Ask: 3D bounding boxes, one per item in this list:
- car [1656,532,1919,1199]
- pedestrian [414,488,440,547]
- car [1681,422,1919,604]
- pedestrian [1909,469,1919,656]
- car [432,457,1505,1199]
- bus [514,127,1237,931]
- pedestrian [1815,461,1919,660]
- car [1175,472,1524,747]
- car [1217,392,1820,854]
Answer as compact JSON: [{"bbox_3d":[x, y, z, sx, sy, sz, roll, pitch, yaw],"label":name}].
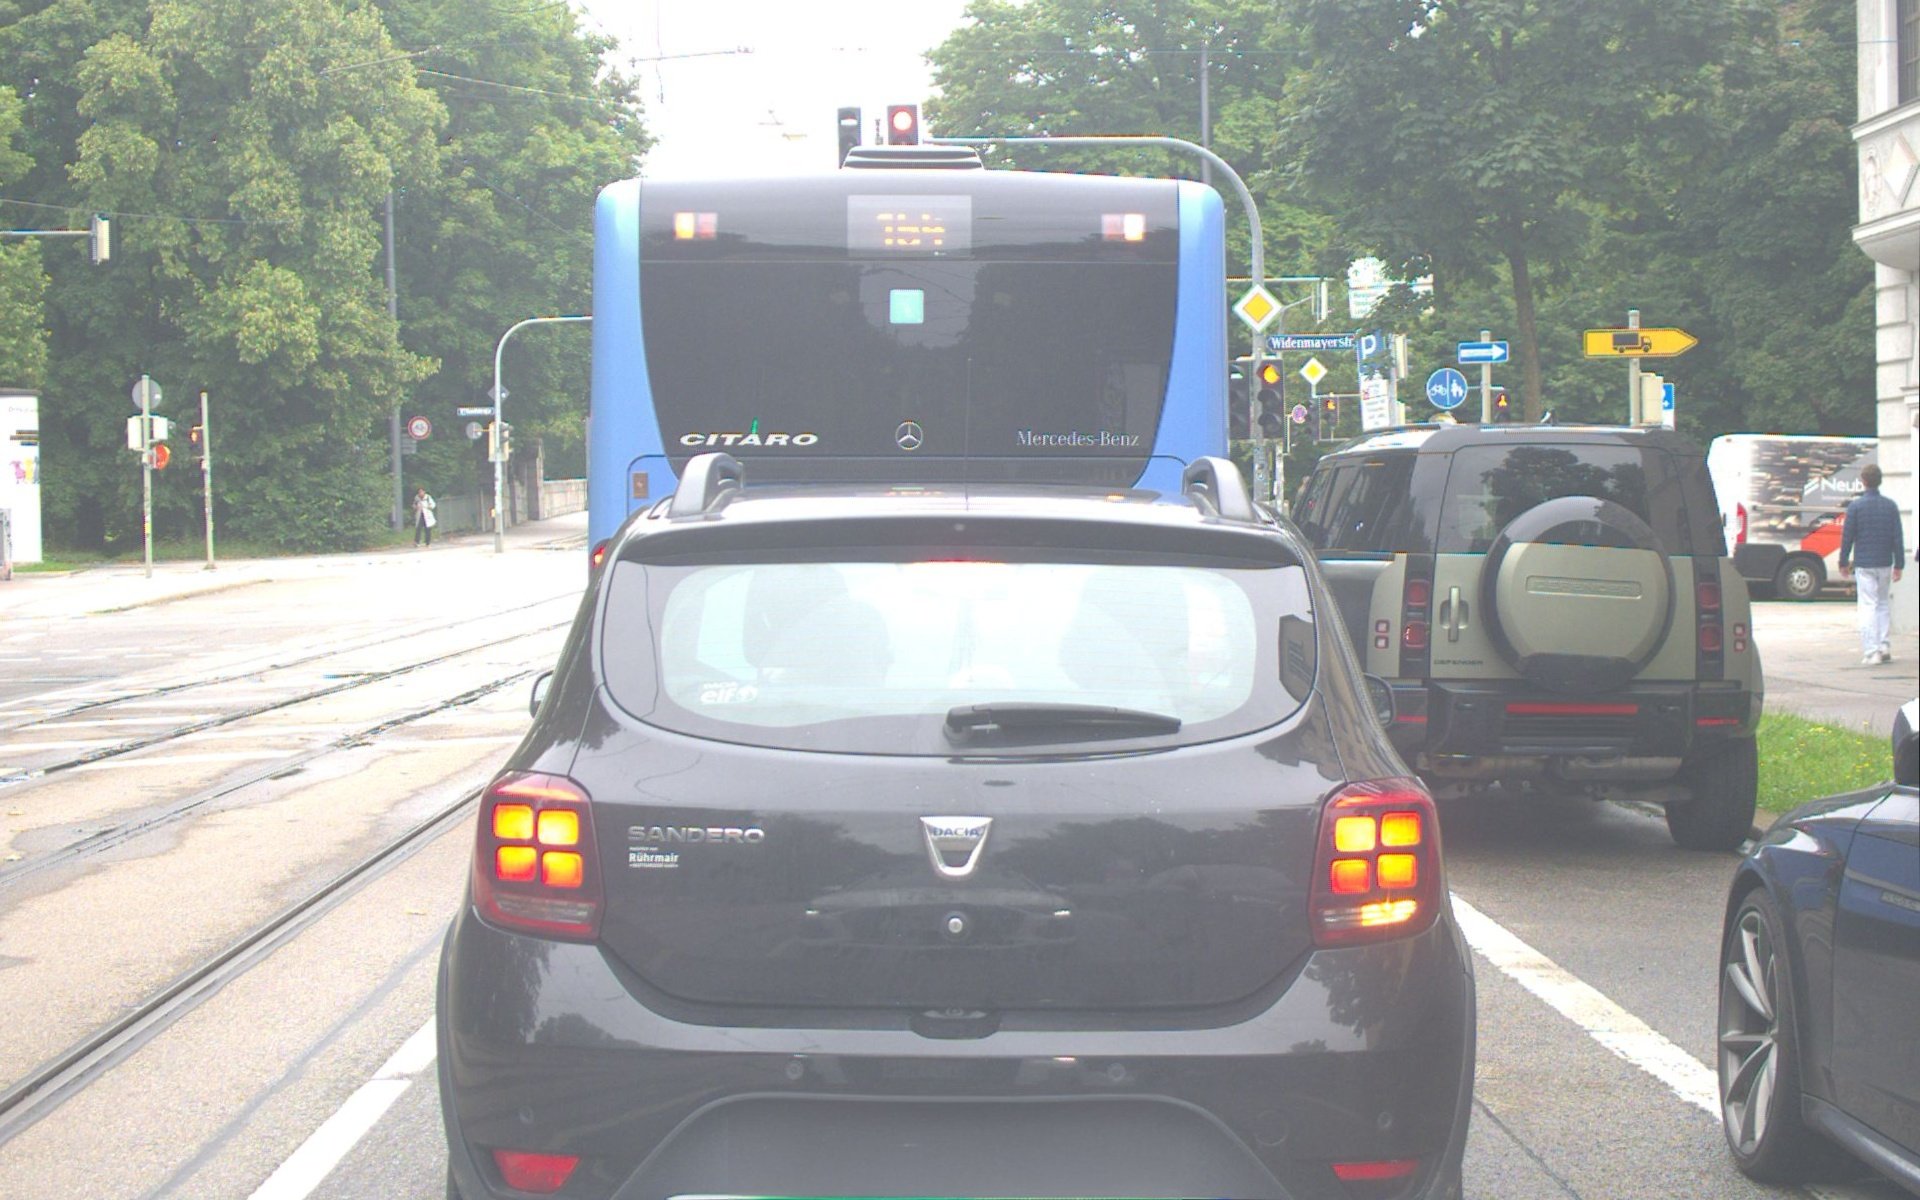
[{"bbox_3d":[2.635,0.605,6.181,1.716,1.421,4.603,1,1,-1],"label":"car"},{"bbox_3d":[-13.580,-2.105,87.592,0.532,1.496,0.588,1,1,4],"label":"pedestrian"},{"bbox_3d":[13.758,-1.276,51.627,5.295,2.603,2.231,1,1,-3],"label":"car"},{"bbox_3d":[9.229,-0.341,31.634,0.705,1.726,0.843,1,1,-1],"label":"pedestrian"},{"bbox_3d":[-0.027,0.540,6.959,1.600,1.551,3.525,1,1,-1],"label":"car"},{"bbox_3d":[-0.462,-0.332,16.478,2.678,2.987,6.962,1,1,-2],"label":"bus"},{"bbox_3d":[8.422,-0.370,31.931,0.705,1.810,0.870,1,1,-1],"label":"pedestrian"},{"bbox_3d":[2.428,0.014,22.393,1.714,1.586,4.327,1,1,-1],"label":"car"},{"bbox_3d":[2.521,0.051,16.802,1.914,1.899,4.809,1,1,-3],"label":"car"}]
